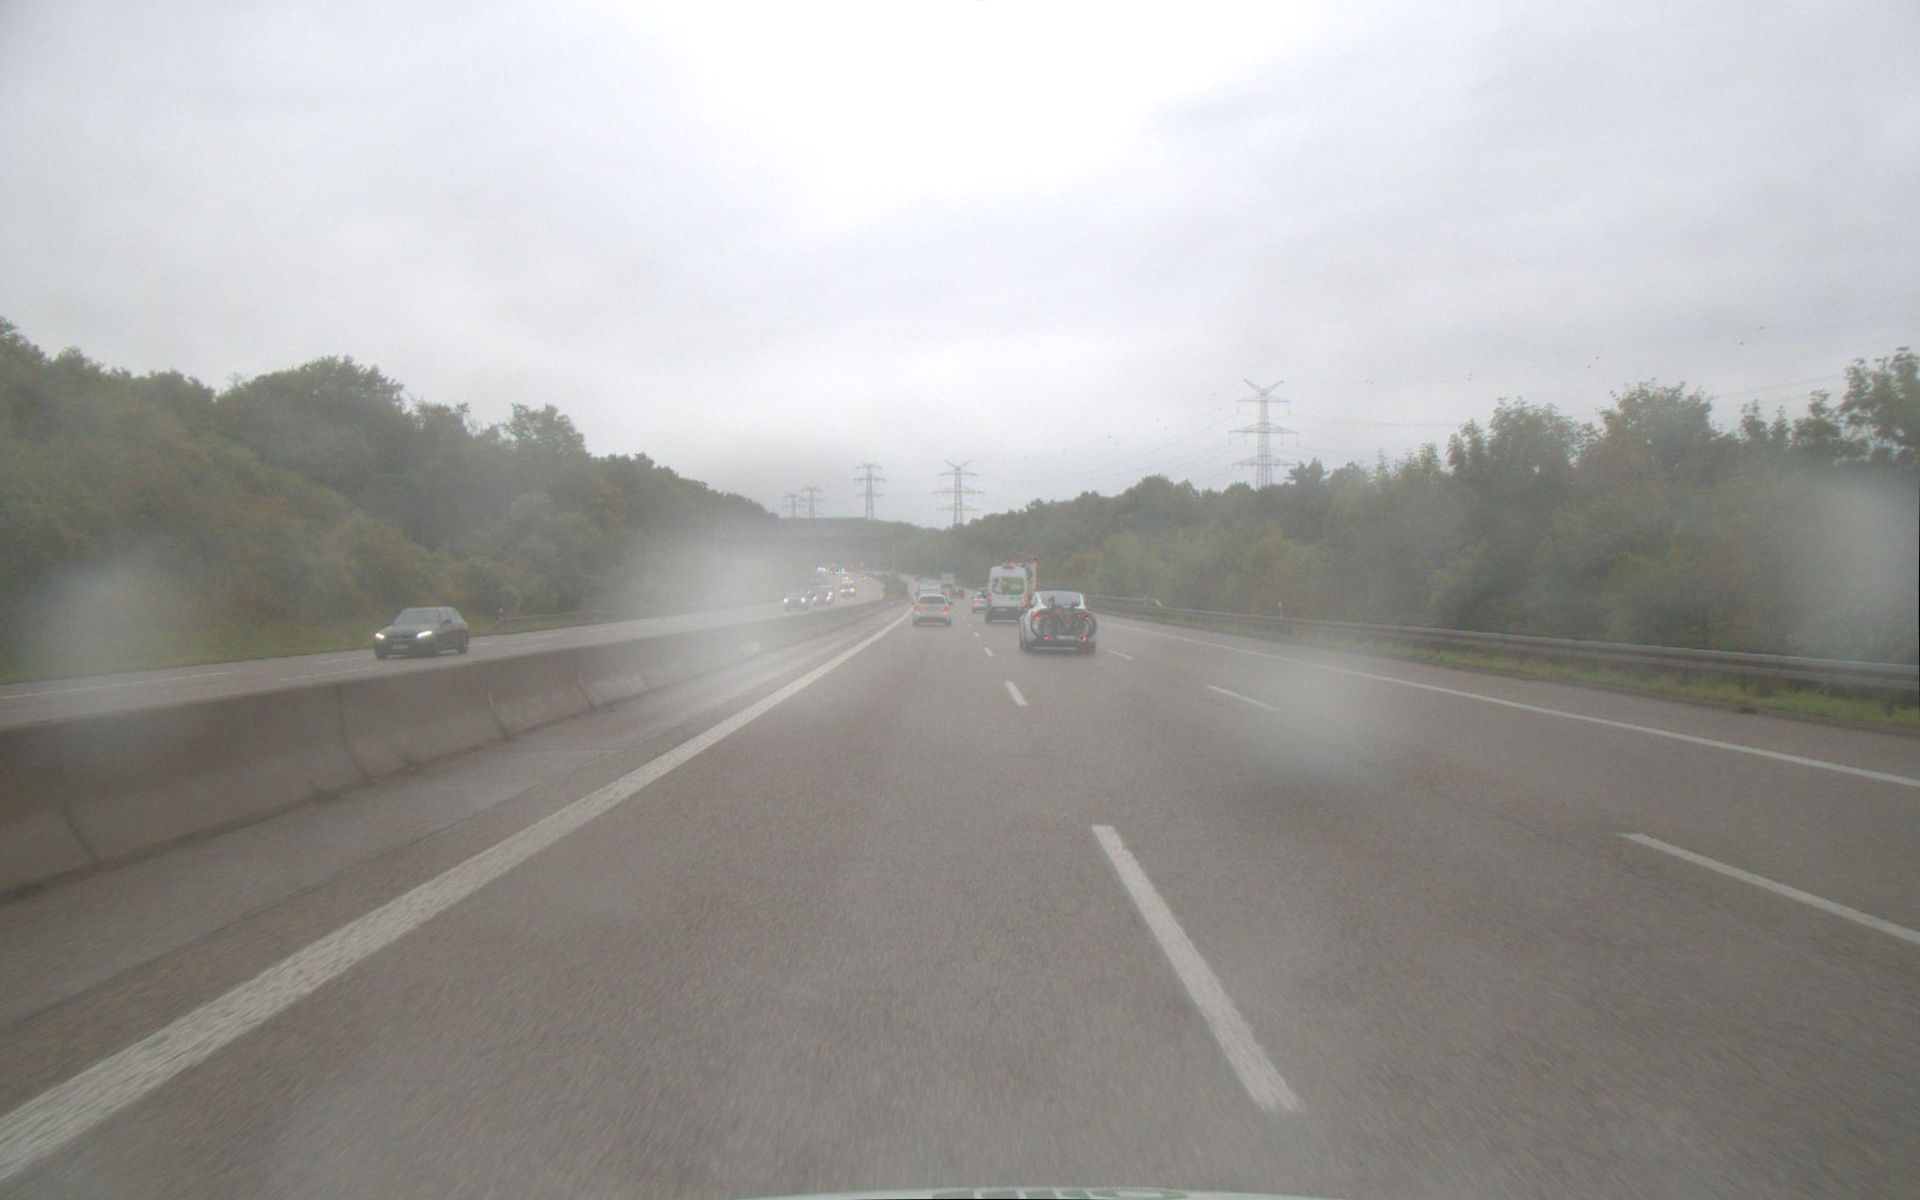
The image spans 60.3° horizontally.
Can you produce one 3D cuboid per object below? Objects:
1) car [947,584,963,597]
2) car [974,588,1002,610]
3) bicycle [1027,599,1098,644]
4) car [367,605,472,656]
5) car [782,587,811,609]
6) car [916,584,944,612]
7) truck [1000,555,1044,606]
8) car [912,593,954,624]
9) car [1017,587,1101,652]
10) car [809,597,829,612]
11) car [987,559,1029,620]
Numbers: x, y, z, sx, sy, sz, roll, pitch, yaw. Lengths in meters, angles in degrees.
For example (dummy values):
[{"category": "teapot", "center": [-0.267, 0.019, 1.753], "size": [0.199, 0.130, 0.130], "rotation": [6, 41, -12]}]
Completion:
[{"category": "car", "center": [-0.616, -1.191, 212.692], "size": [1.953, 1.601, 3.999], "rotation": [-1, 0, -1]}, {"category": "car", "center": [1.952, -0.079, 116.640], "size": [1.819, 1.447, 4.000], "rotation": [0, 1, -1]}, {"category": "bicycle", "center": [2.561, 0.532, 41.511], "size": [1.718, 1.109, 0.913], "rotation": [0, -1, -2]}, {"category": "car", "center": [-16.262, 0.884, 49.990], "size": [1.762, 1.409, 4.467], "rotation": [-1, 0, -1]}, {"category": "car", "center": [-13.531, -0.155, 137.208], "size": [1.953, 1.717, 4.916], "rotation": [-1, 0, -1]}, {"category": "car", "center": [-1.996, -0.095, 110.866], "size": [1.809, 1.803, 3.999], "rotation": [1, -1, -1]}, {"category": "truck", "center": [5.512, -1.757, 149.194], "size": [3.529, 4.407, 13.200], "rotation": [0, 1, 0]}, {"category": "car", "center": [-1.241, 0.370, 74.837], "size": [1.829, 1.310, 3.999], "rotation": [-1, 0, -1]}, {"category": "car", "center": [2.598, 0.484, 44.456], "size": [1.822, 1.595, 4.963], "rotation": [1, 1, -1]}, {"category": "car", "center": [-14.564, 0.455, 171.365], "size": [1.601, 1.436, 4.367], "rotation": [-1, 0, 1]}, {"category": "car", "center": [2.387, -0.525, 82.869], "size": [1.953, 2.914, 4.000], "rotation": [-1, 0, 0]}]
